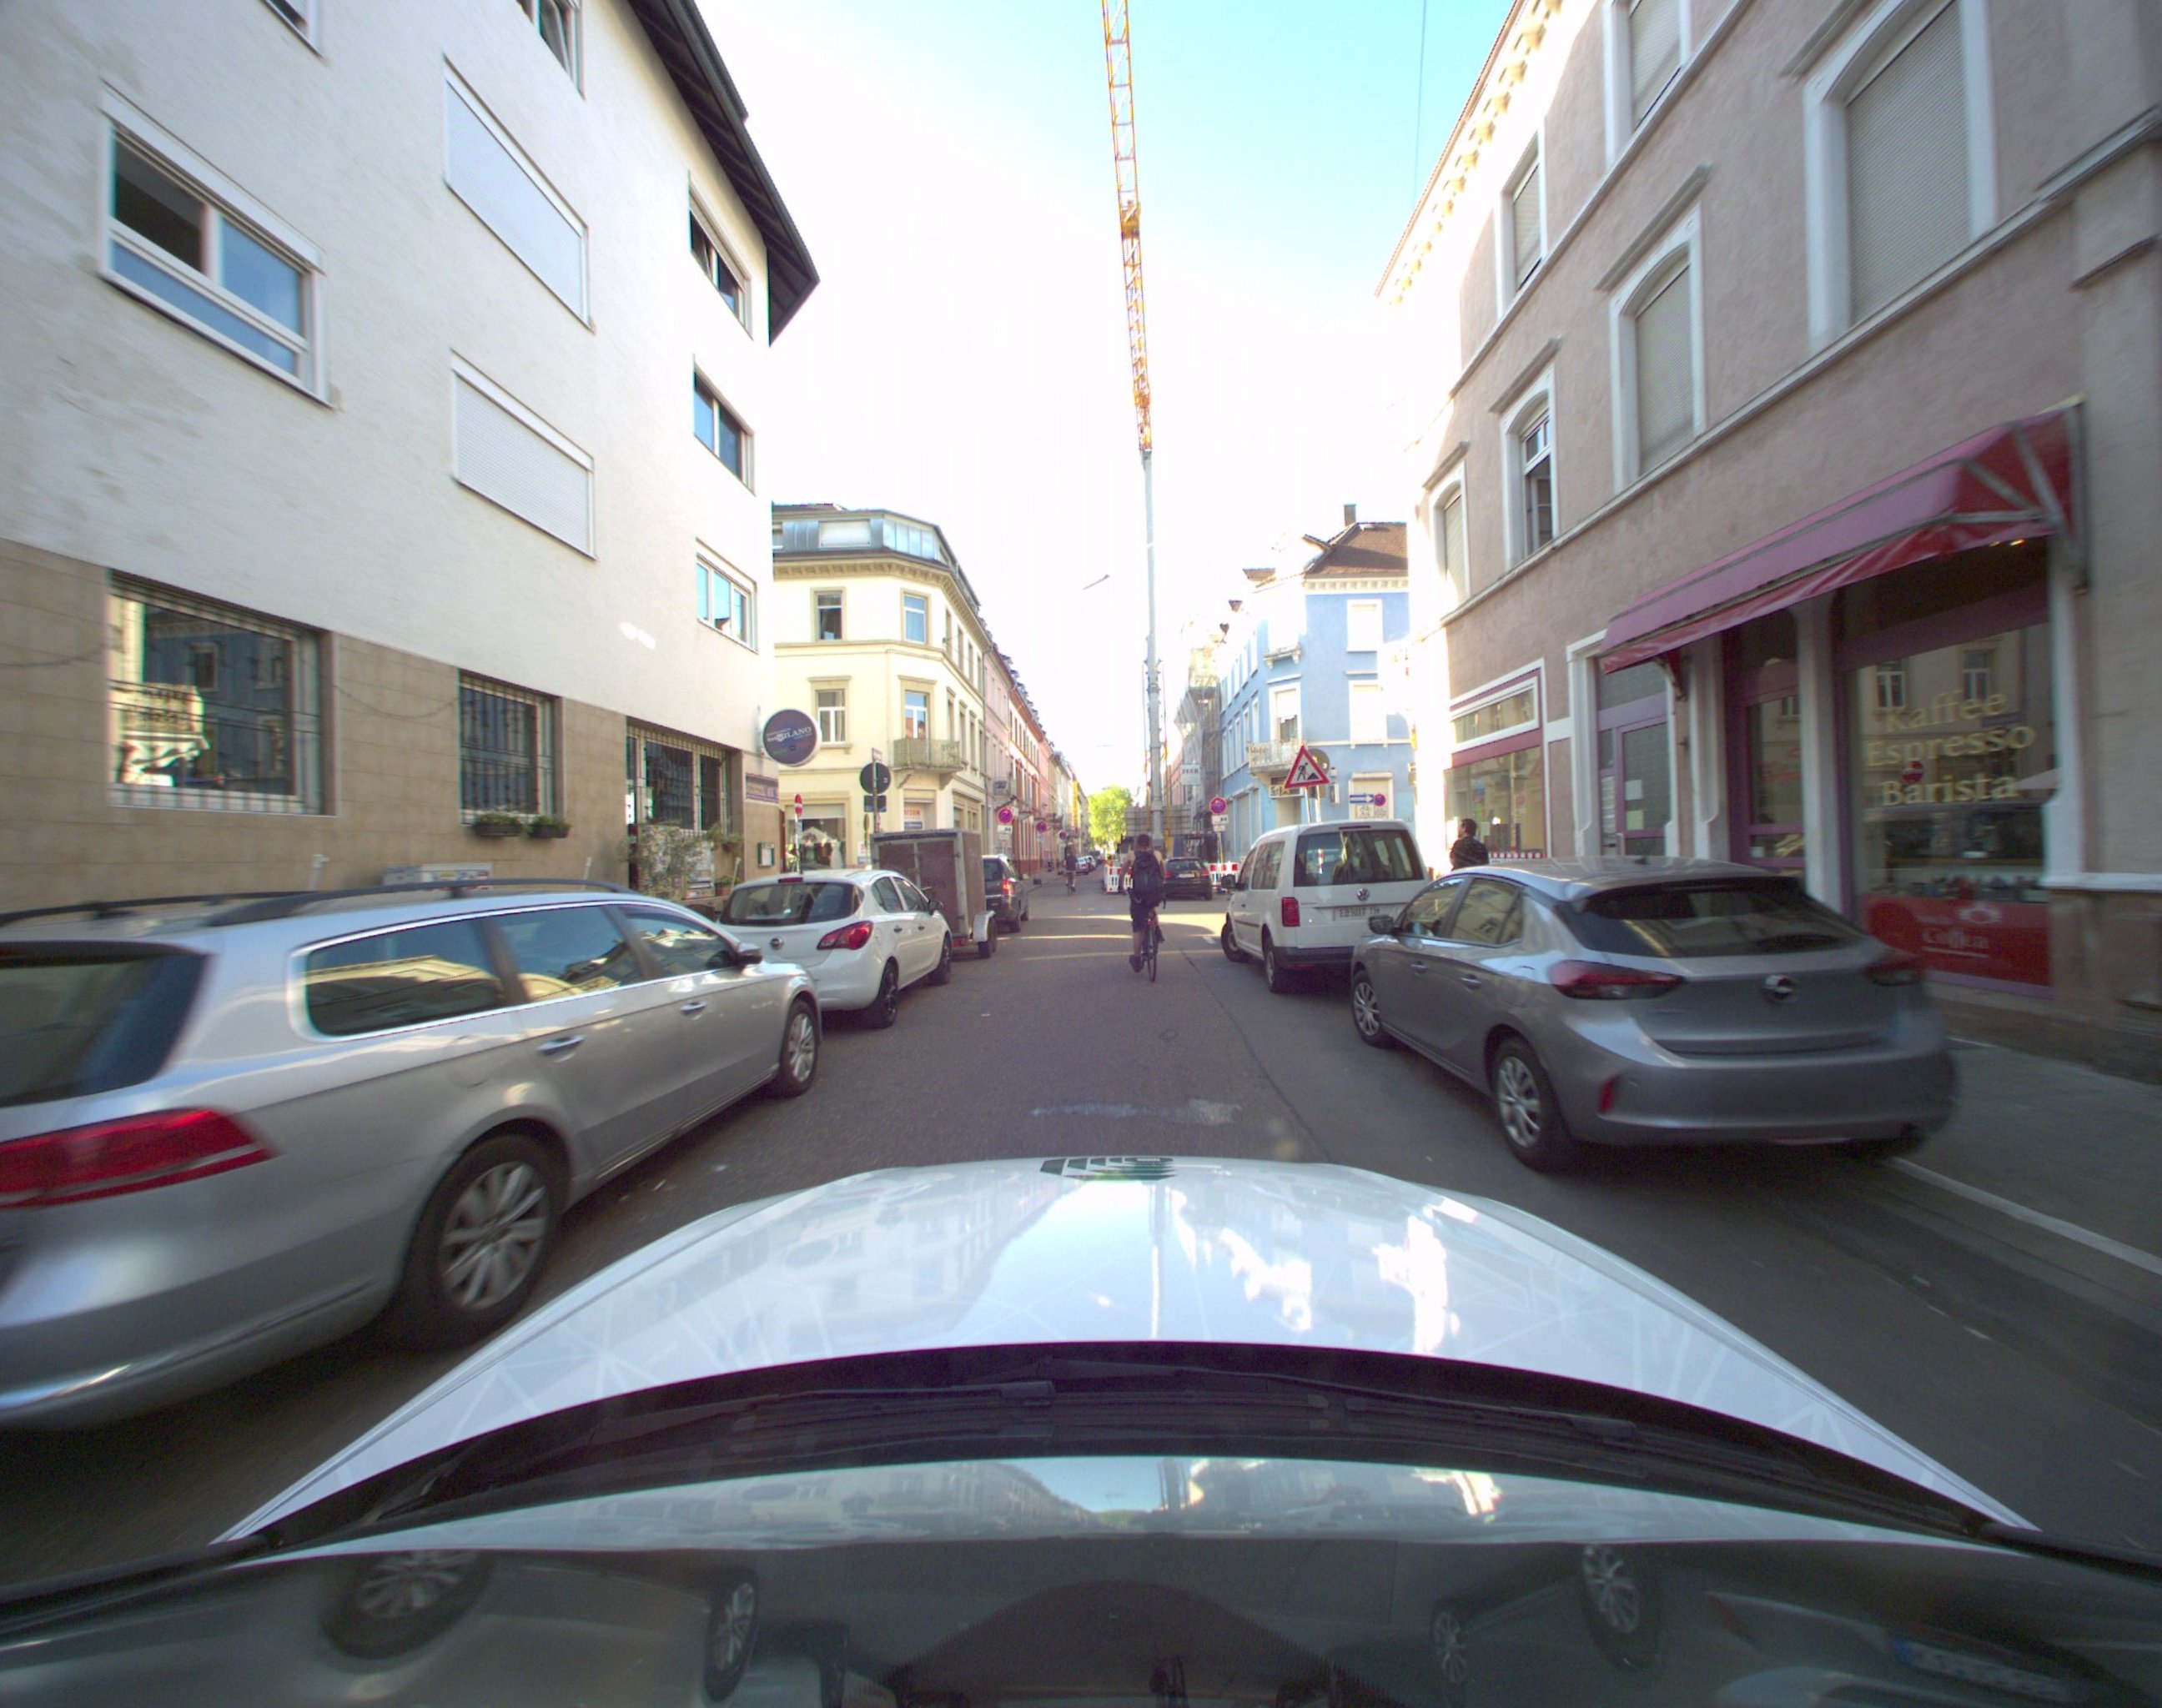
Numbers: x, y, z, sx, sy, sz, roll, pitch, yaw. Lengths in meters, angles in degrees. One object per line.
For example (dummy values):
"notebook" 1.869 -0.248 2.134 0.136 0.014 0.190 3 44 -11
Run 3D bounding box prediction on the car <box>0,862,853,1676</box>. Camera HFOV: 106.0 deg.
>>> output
"car" -2.634 0.831 3.795 1.667 1.497 4.532 -3 -1 2

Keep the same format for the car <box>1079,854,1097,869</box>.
"car" 0.787 0.788 84.463 1.665 1.441 4.167 -4 -1 2

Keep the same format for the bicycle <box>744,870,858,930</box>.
"bicycle" -6.920 1.126 20.239 2.465 1.359 0.929 -2 -1 2

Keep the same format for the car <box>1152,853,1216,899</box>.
"car" 3.436 0.714 27.803 1.765 1.434 4.035 -1 0 2

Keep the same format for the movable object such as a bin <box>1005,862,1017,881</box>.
"movable object such as a bin" -3.946 0.974 45.674 0.603 1.035 0.596 0 -1 0

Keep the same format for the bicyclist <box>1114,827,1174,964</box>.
"bicyclist" 0.777 0.505 10.310 0.699 1.633 1.090 0 -1 2

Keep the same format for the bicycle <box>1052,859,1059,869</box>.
"bicycle" -2.688 1.029 85.638 0.590 1.089 2.080 0 -1 3

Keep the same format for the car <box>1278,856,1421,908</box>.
"car" 8.186 0.837 25.027 3.852 1.453 1.678 -1 0 2

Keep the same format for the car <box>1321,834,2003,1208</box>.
"car" 2.881 0.683 5.191 1.603 1.408 3.883 -3 -1 2

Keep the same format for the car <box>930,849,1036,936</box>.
"car" -2.017 0.739 17.943 1.716 1.605 4.166 -3 0 0

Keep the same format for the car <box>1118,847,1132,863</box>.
"car" 7.661 0.198 142.516 2.299 2.538 6.773 -4 -1 2

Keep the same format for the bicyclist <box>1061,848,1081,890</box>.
"bicyclist" -0.391 0.578 32.031 0.699 1.605 0.813 -3 1 1

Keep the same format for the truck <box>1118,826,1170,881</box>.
"truck" 3.410 0.018 45.537 2.651 2.814 7.397 0 -1 3

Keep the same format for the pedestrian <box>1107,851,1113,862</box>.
"pedestrian" 4.013 0.353 114.124 0.768 1.578 0.900 0 -1 -1

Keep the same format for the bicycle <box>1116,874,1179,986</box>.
"bicycle" 0.795 0.881 10.297 0.699 1.208 2.343 0 -1 2

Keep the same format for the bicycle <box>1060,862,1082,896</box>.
"bicycle" -0.367 0.948 32.069 0.699 1.208 2.343 -3 1 2

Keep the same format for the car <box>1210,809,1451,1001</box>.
"car" 2.794 0.519 10.182 1.742 1.817 4.371 -2 -1 2

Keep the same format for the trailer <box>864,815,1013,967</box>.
"trailer" -2.198 0.538 13.665 1.656 2.061 4.362 -3 -1 -1

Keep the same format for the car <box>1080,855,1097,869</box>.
"car" 0.875 0.869 90.514 1.665 1.441 3.770 -4 -1 2

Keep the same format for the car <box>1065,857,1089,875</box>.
"car" -0.293 0.978 66.949 1.704 1.383 4.508 -4 -1 2

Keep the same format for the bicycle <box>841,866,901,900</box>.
"bicycle" -7.264 0.996 28.189 1.911 1.149 0.614 0 -1 8

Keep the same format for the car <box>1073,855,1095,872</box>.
"car" 0.328 0.893 78.004 1.703 1.383 4.361 -2 1 4

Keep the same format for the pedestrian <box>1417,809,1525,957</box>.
"pedestrian" 5.083 0.370 10.681 0.823 1.792 0.990 -4 -1 1

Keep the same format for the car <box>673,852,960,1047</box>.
"car" -2.522 0.822 8.784 1.670 1.554 3.819 -3 -1 2

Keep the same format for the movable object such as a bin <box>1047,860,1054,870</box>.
"movable object such as a bin" -2.733 0.977 73.037 0.541 0.945 0.487 0 -1 3

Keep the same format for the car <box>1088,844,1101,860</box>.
"car" 2.176 -0.251 132.123 1.903 2.496 4.165 -2 0 0
